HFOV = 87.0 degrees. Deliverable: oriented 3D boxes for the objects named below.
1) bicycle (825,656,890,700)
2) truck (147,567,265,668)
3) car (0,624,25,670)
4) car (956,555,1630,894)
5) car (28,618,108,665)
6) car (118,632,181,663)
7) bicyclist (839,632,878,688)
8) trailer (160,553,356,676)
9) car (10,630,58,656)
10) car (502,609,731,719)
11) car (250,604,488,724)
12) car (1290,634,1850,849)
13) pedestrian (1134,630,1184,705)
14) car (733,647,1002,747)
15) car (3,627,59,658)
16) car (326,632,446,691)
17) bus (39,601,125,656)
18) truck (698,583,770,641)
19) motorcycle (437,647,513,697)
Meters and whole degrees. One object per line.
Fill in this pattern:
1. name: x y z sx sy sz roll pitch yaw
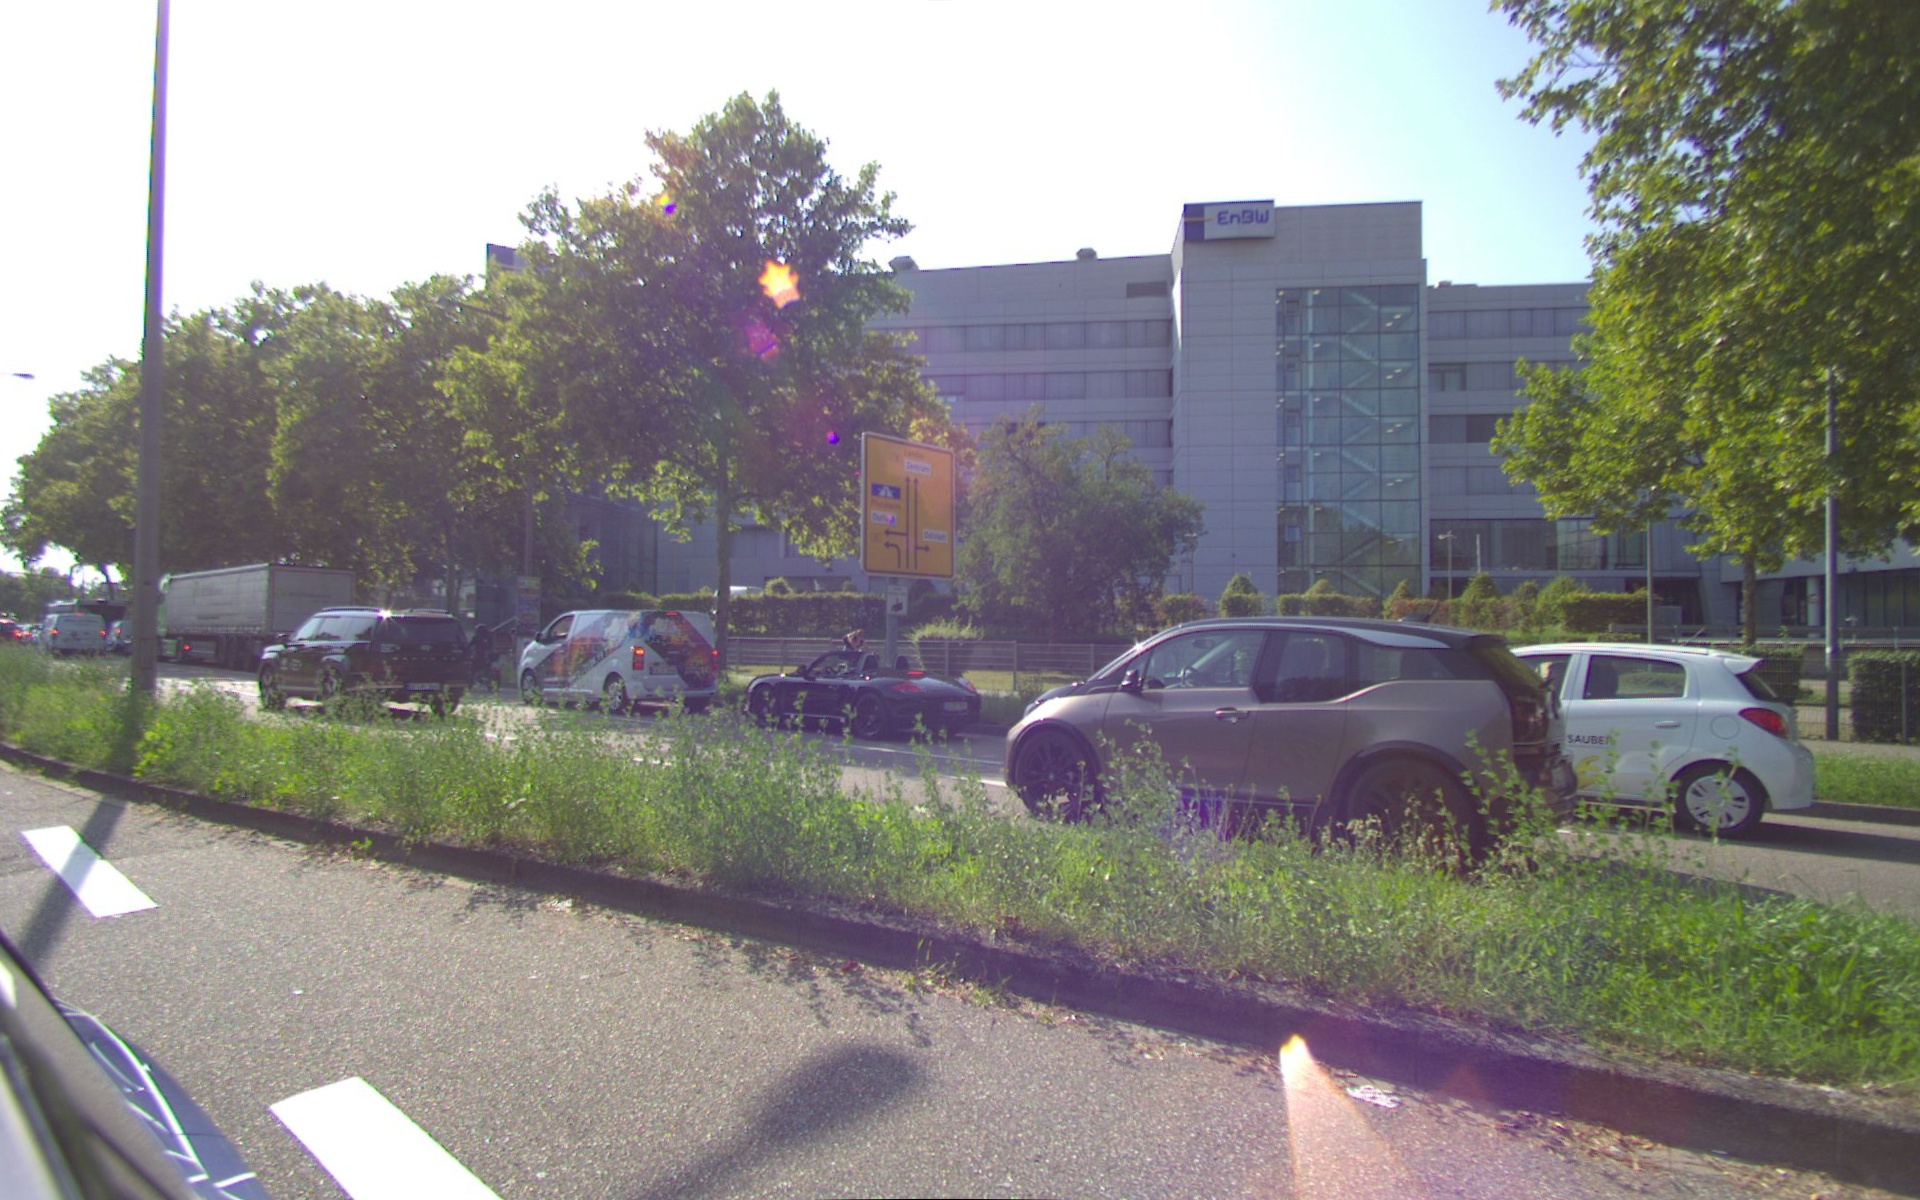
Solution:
1. bicycle: -2.709 2.039 26.698 1.799 1.116 0.641 -2 -3 41
2. truck: -31.167 0.784 41.759 5.889 3.849 2.580 -2 -4 41
3. car: -38.357 1.839 39.743 4.585 1.737 1.933 -2 -3 42
4. car: 2.250 0.743 7.490 4.304 1.773 1.973 -1 -4 41
5. car: -39.458 1.804 44.743 5.033 1.968 1.973 -1 -3 41
6. car: -39.449 2.287 49.221 4.478 1.422 1.630 -1 -4 41
7. bicyclist: -2.680 1.573 26.711 0.839 1.450 0.641 -2 -3 41
8. trailer: -26.219 0.644 37.312 13.806 3.851 2.605 -2 -4 42
9. car: -53.886 2.468 58.887 4.188 1.444 1.629 -1 -4 42
10. car: -6.785 1.195 19.701 4.967 1.873 1.963 -2 -4 42
11. car: -10.134 1.046 17.240 4.472 1.773 1.974 -1 -4 39
12. car: 5.249 1.061 9.066 3.997 1.493 1.772 -2 -3 40
13. pedestrian: 4.535 1.516 23.079 0.933 1.665 0.610 -2 -2 41
14. car: -1.491 1.370 15.278 4.095 1.272 1.771 -2 -4 43
15. car: -48.741 2.242 53.098 4.138 1.540 1.677 -2 -4 41
16. car: -15.640 1.639 27.505 3.830 1.490 1.727 -2 -4 43
17. bus: -54.653 1.769 62.859 12.309 3.103 2.562 -2 -2 42
18. truck: -11.816 0.675 53.415 2.210 2.883 5.898 -1 -1 3
19. motorcycle: -11.684 1.702 24.353 2.467 1.115 0.786 -2 -2 43
